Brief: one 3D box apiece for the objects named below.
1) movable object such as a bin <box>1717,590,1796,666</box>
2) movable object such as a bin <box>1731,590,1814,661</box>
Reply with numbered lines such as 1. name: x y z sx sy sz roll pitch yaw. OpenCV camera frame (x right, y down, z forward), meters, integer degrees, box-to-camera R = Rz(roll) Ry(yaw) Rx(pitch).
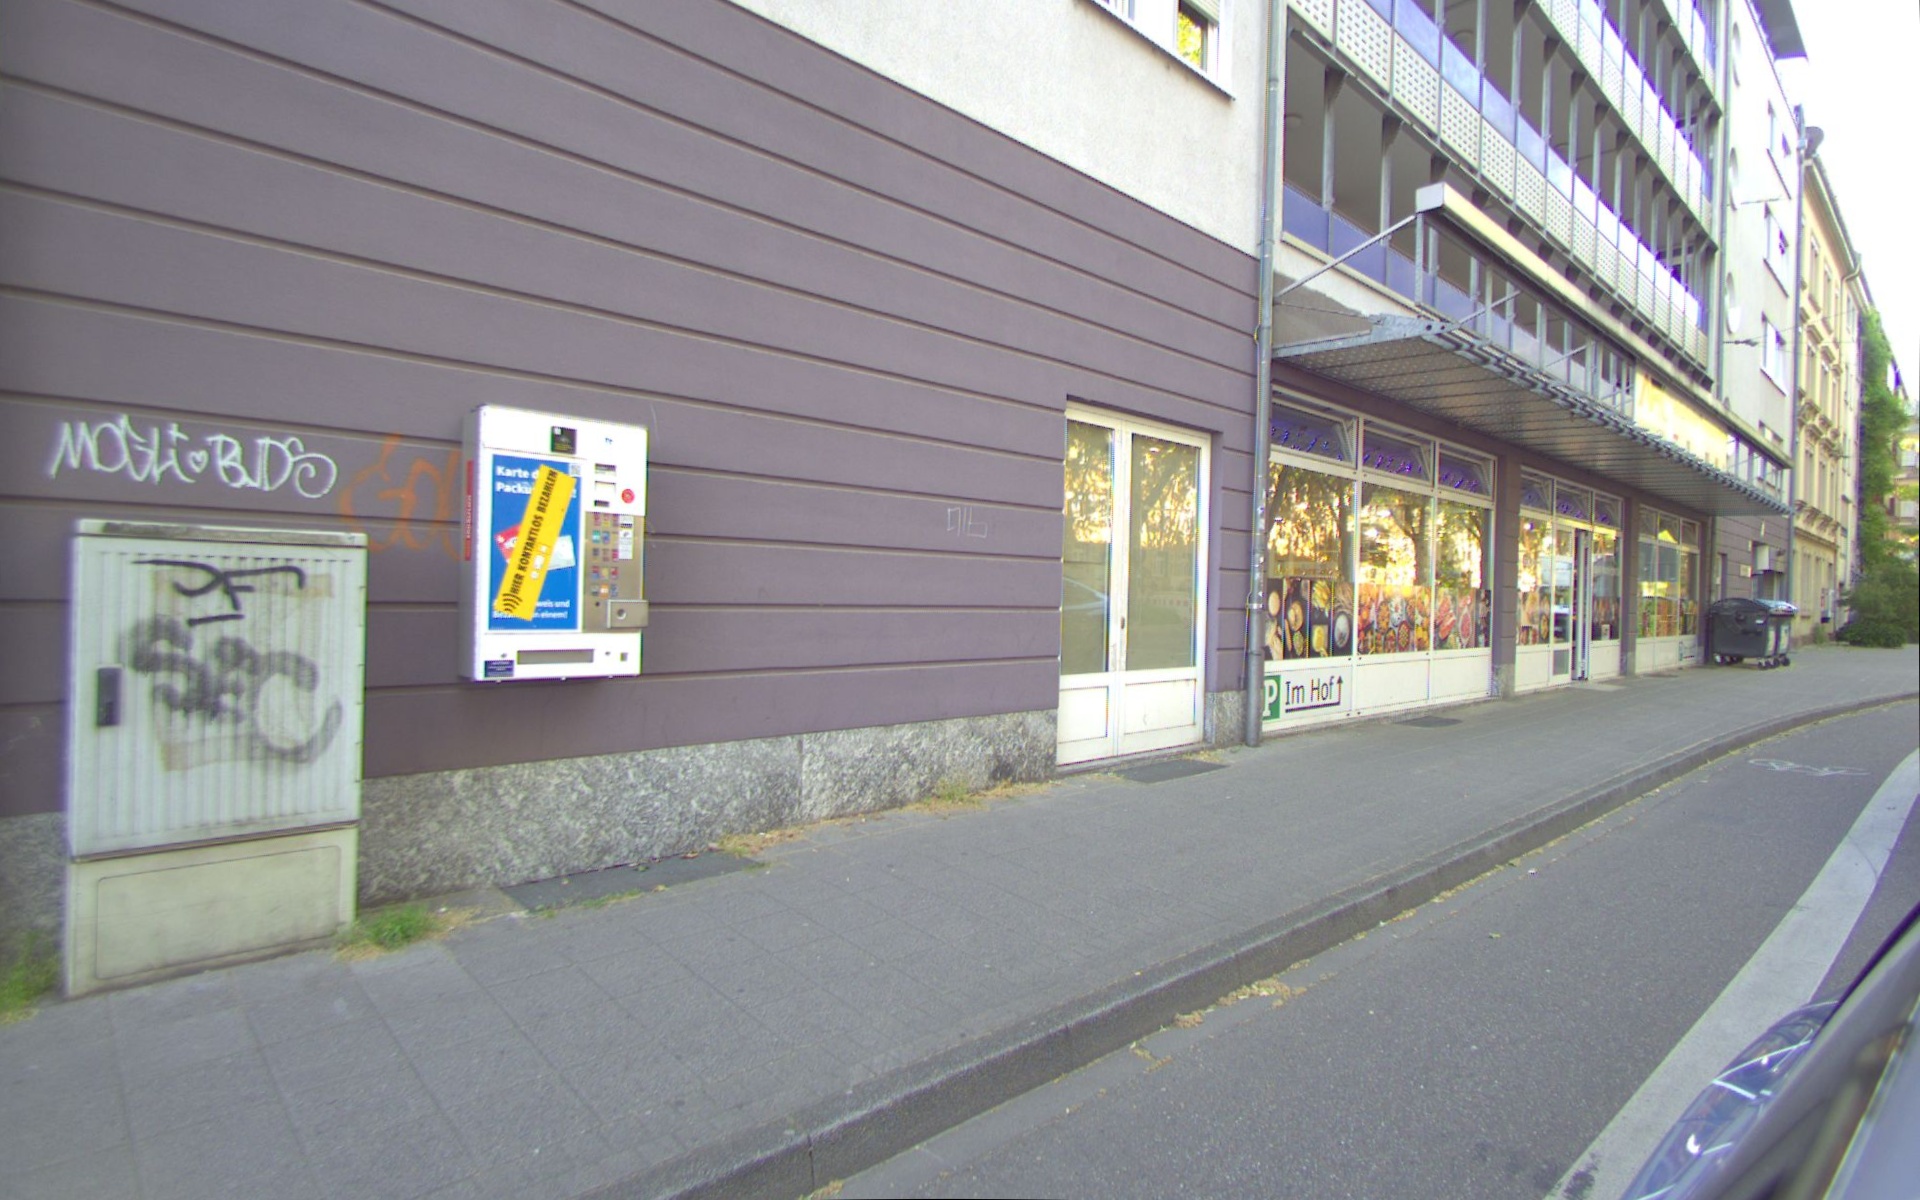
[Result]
1. movable object such as a bin: 16.435 0.553 20.876 1.274 1.465 1.068 1 1 -42
2. movable object such as a bin: 17.785 0.536 22.163 1.282 1.464 1.123 1 1 -38
